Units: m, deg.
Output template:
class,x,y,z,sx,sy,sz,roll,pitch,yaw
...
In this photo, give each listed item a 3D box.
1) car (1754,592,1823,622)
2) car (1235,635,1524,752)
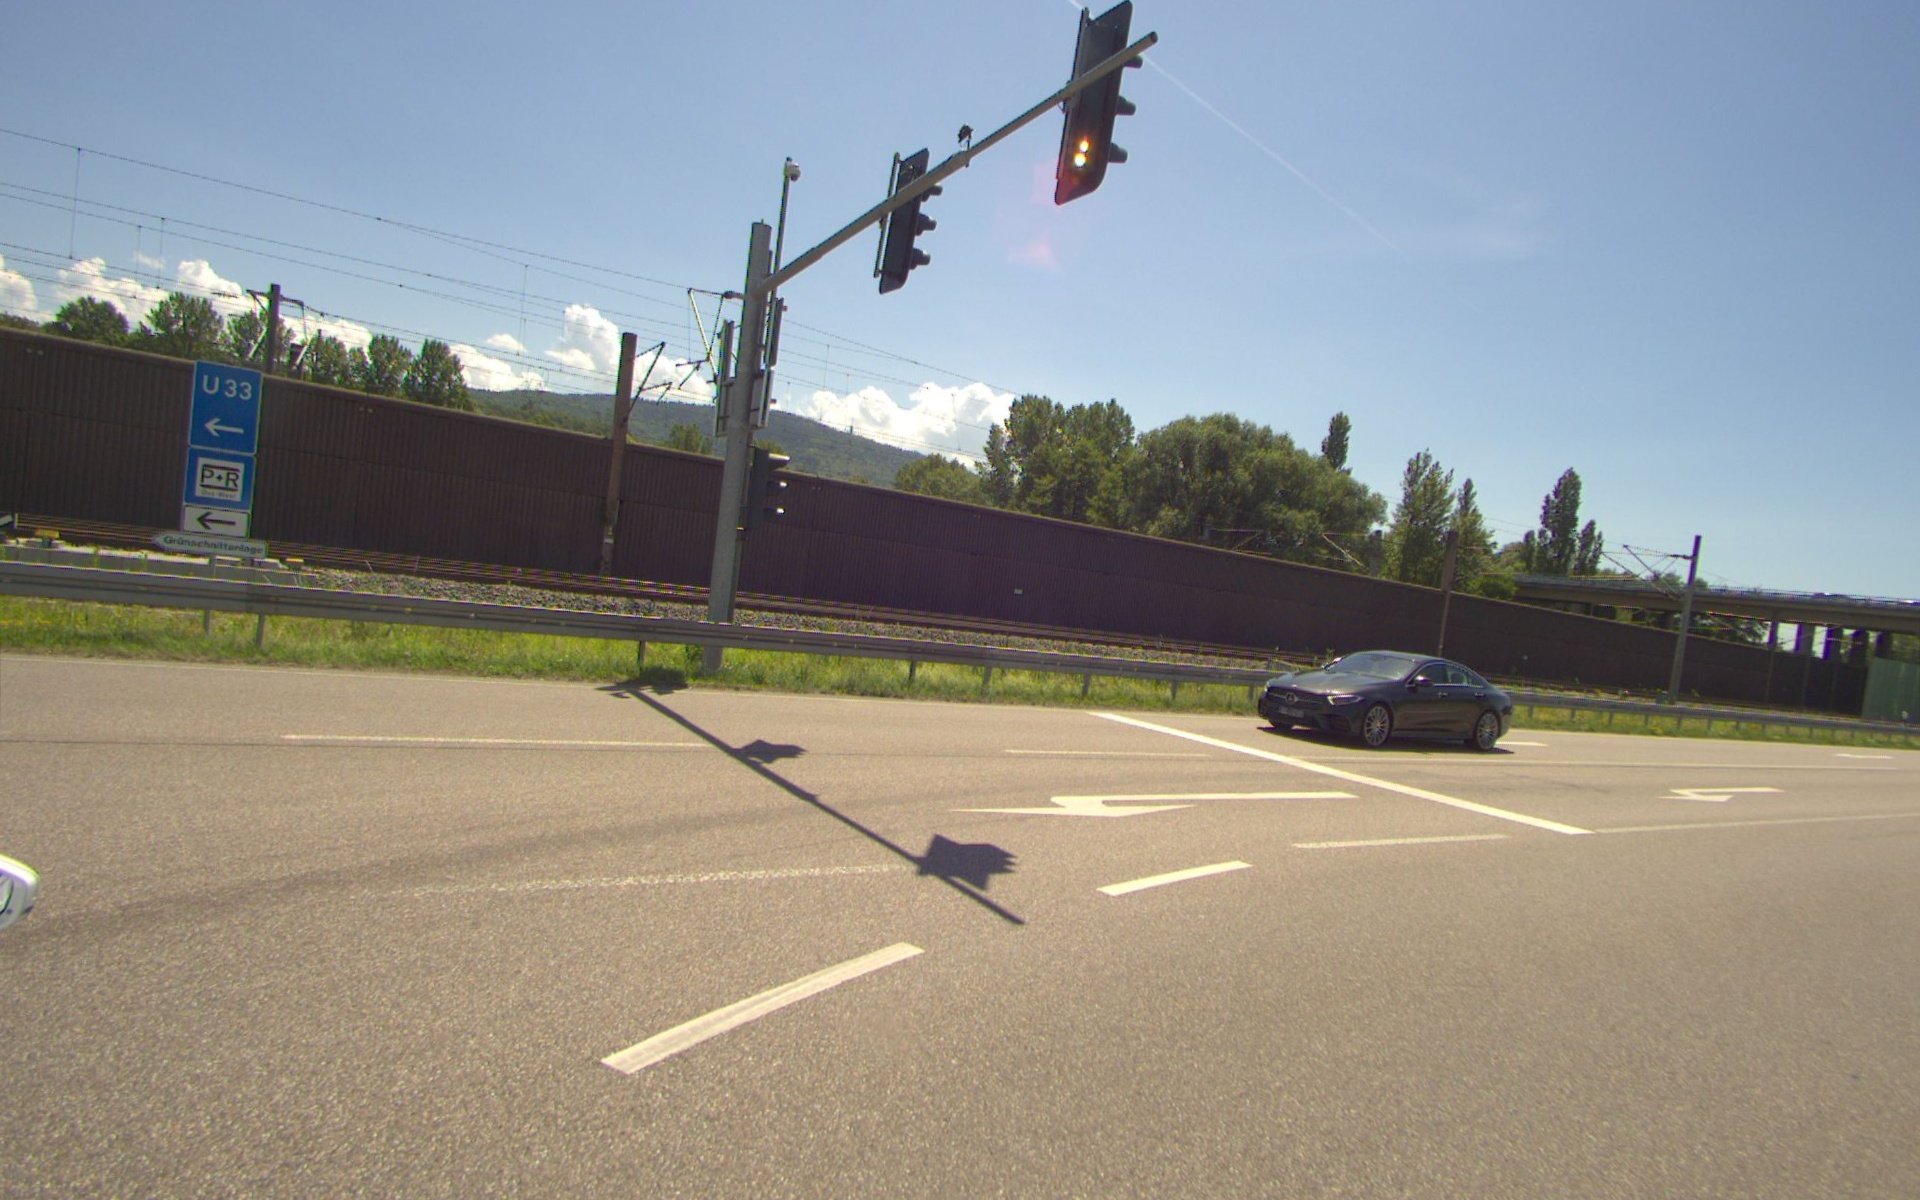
class,x,y,z,sx,sy,sz,roll,pitch,yaw
car,79.965,0.631,97.156,1.890,2.472,4.617,6,0,-27
car,6.808,1.530,16.195,4.599,1.381,1.897,7,0,-32
